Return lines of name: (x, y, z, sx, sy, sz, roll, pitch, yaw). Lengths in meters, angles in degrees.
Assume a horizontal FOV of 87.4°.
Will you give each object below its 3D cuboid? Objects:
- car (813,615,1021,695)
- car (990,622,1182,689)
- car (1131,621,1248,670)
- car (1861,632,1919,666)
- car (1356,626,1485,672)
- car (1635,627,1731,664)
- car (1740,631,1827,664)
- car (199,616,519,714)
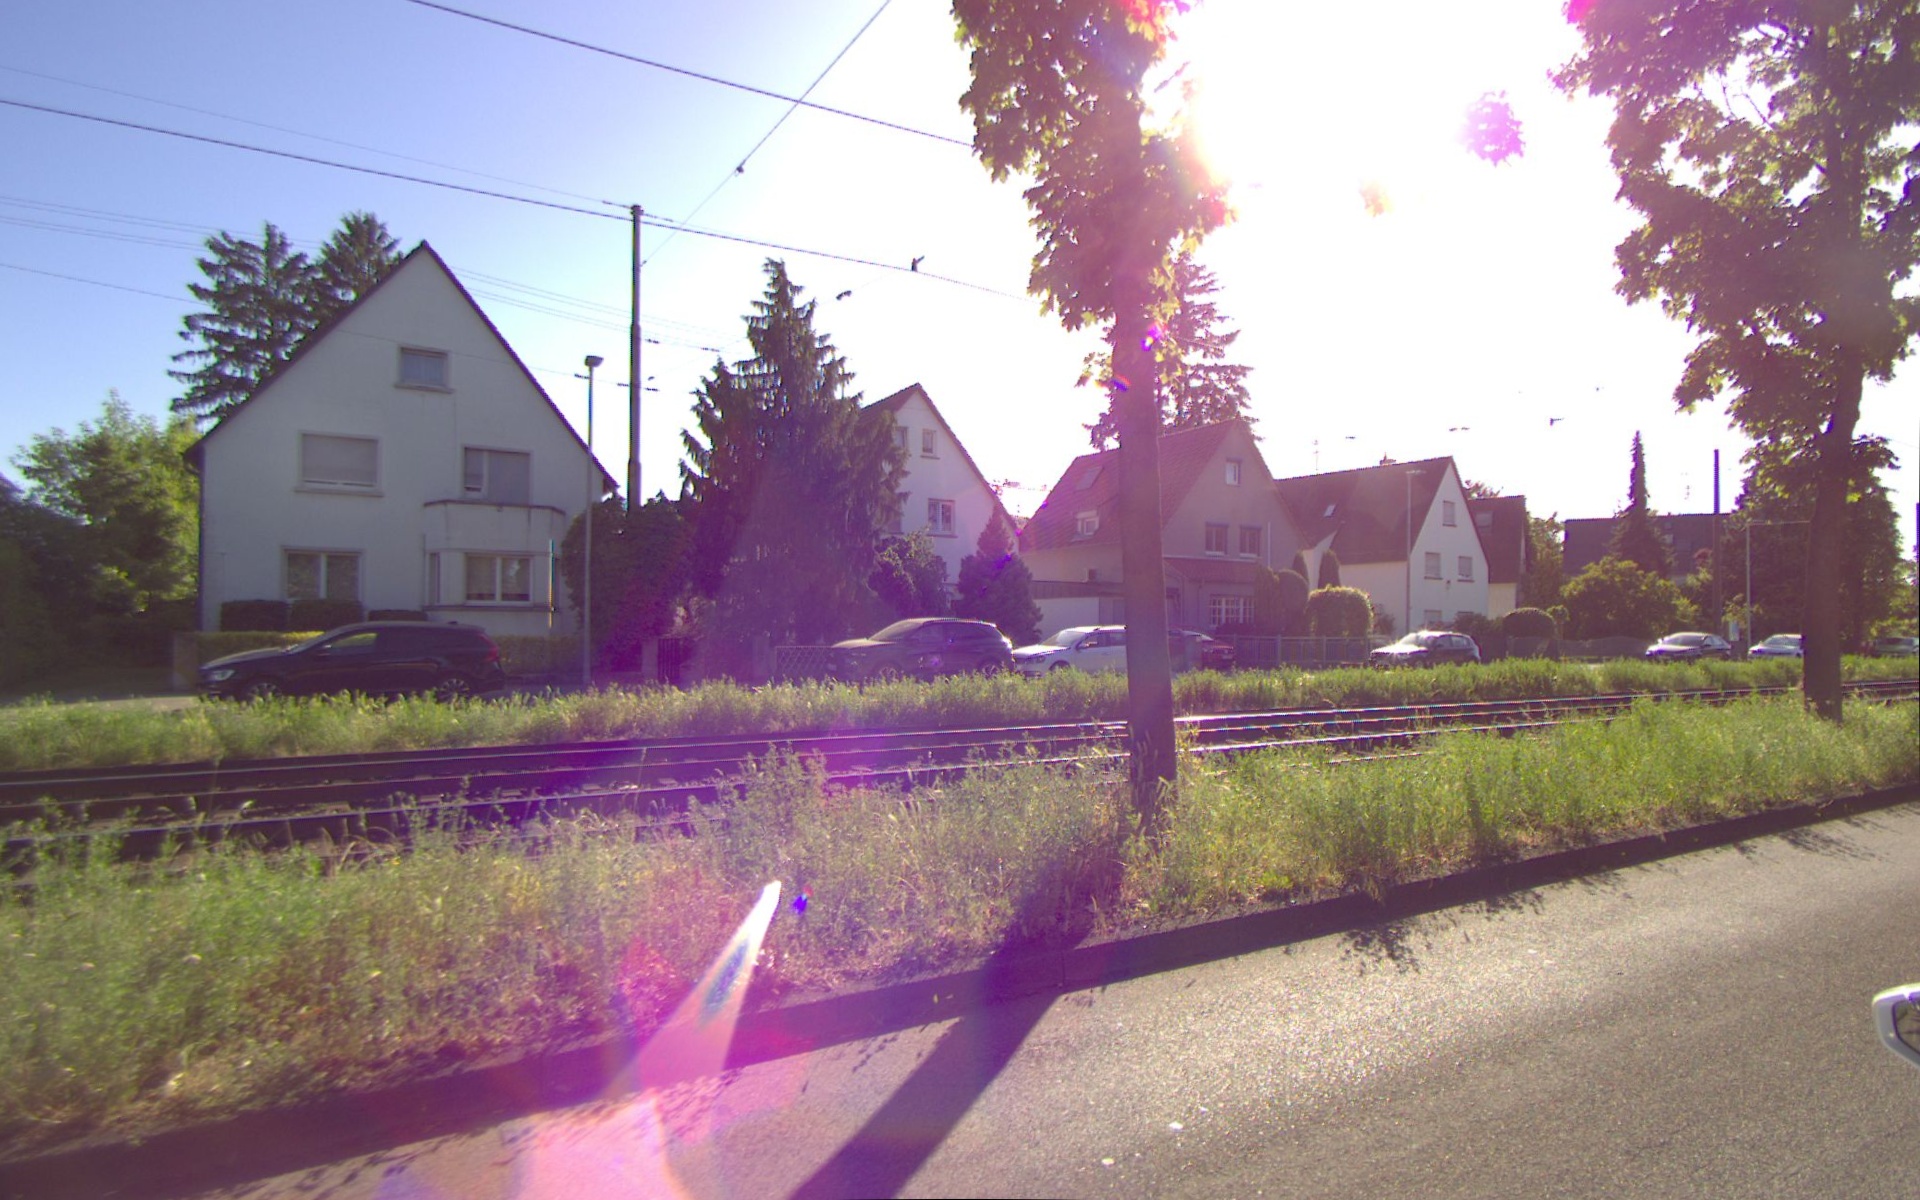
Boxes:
car: (-0.951, 1.231, 23.172, 4.503, 1.672, 1.739, 2, 0, -31)
car: (3.316, 1.413, 26.158, 4.724, 1.566, 1.984, 2, 0, -30)
car: (8.006, 1.557, 35.365, 1.866, 1.472, 3.899, 0, 1, -30)
car: (51.747, 2.691, 55.490, 4.180, 1.730, 1.769, 2, 0, -31)
car: (15.275, 1.593, 33.282, 4.180, 1.388, 1.850, 2, 0, -31)
car: (30.802, 1.931, 42.760, 4.111, 1.432, 1.850, 2, 0, -31)
car: (39.197, 2.263, 47.786, 4.411, 1.450, 1.850, 2, 0, -31)
car: (-10.258, 1.078, 17.486, 4.550, 1.485, 1.720, 2, 0, -31)
